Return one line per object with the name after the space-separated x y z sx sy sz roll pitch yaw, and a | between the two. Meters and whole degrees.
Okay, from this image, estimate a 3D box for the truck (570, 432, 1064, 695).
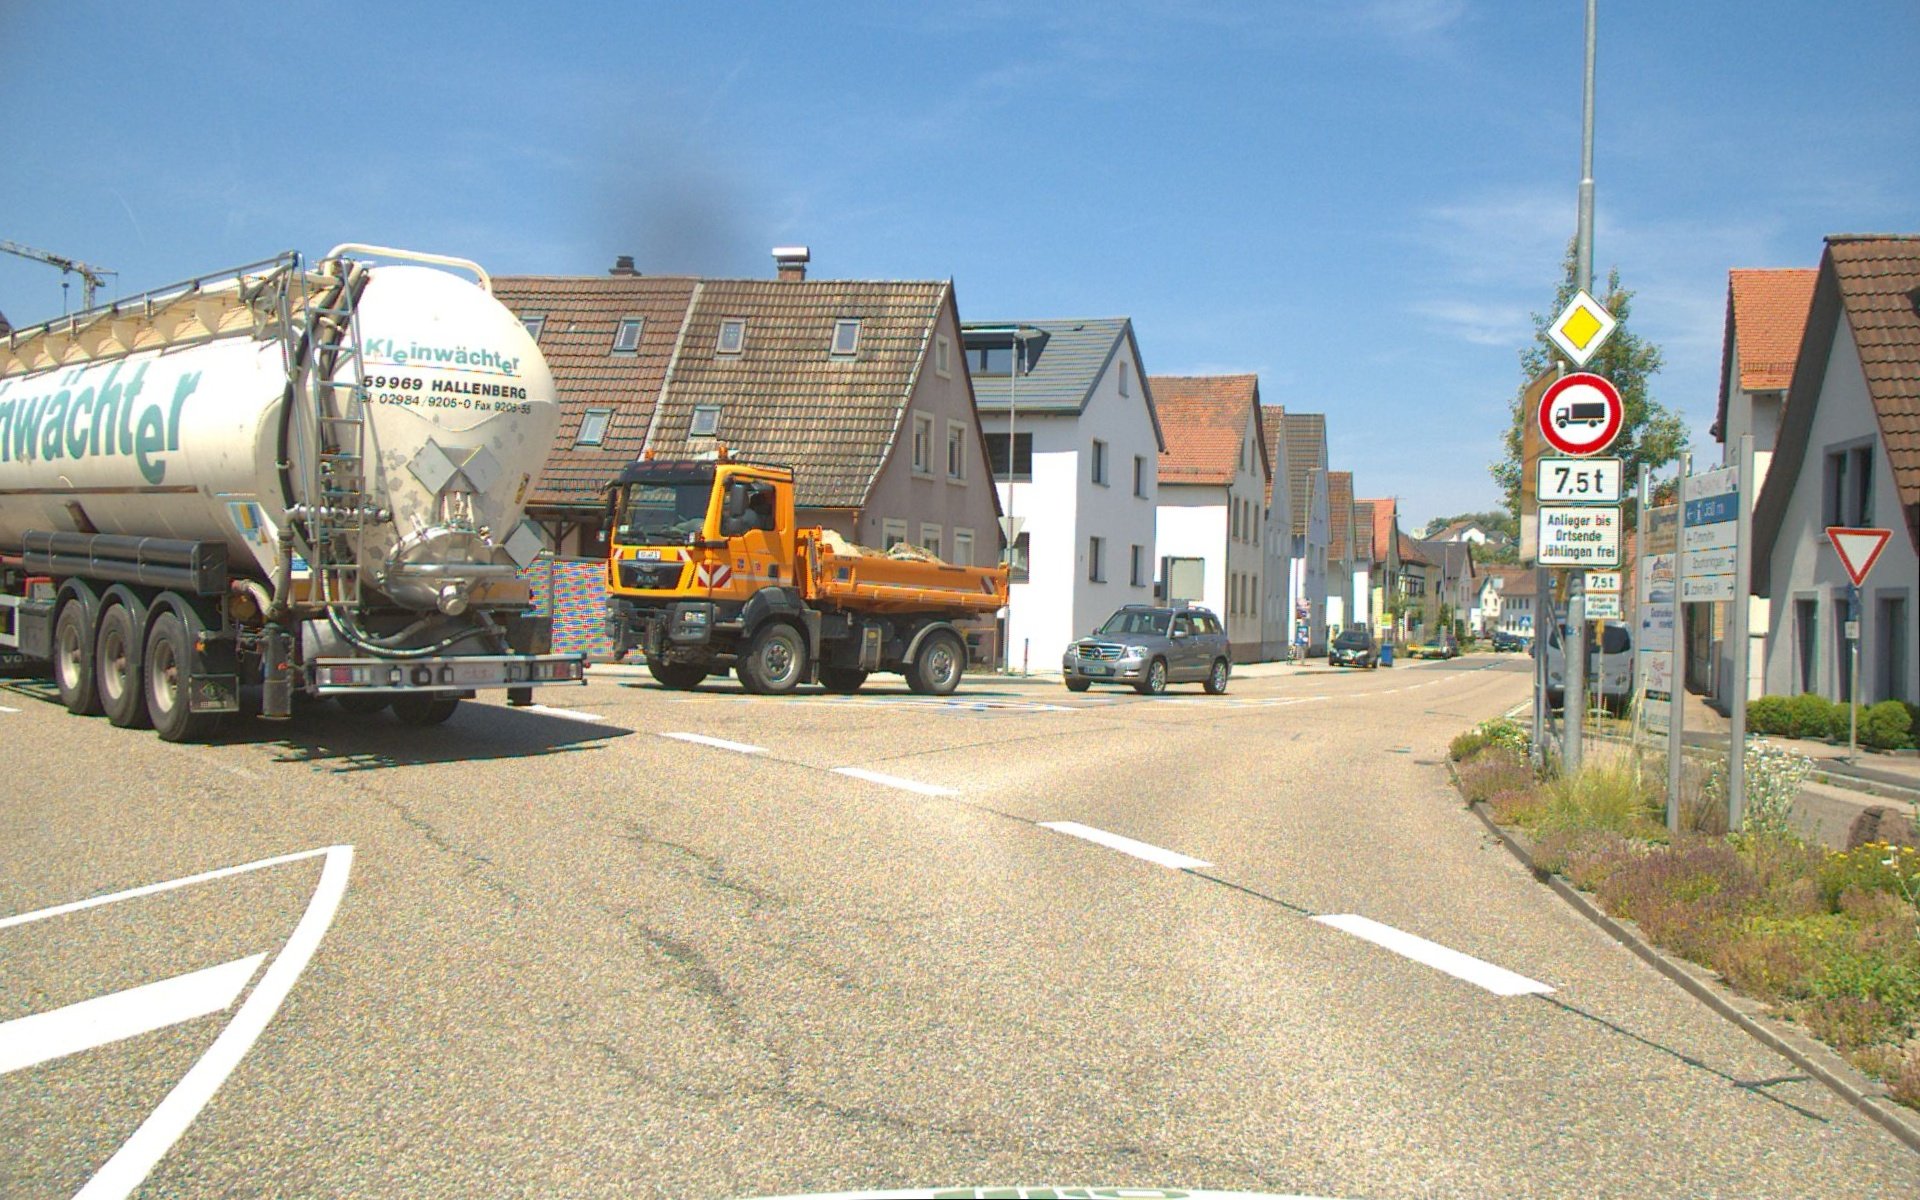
-1.808 -0.313 24.359 2.622 3.237 7.418 1 -2 41 | truck

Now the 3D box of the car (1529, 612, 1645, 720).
12.669 1.348 33.640 1.952 1.945 4.325 2 -2 18 | car

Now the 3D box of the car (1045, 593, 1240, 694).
3.545 0.864 31.421 1.958 1.704 4.301 2 -1 32 | car

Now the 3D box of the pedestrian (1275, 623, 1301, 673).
13.732 1.991 69.270 0.754 2.049 0.975 2 0 27 | pedestrian

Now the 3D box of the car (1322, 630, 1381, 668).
17.748 2.195 74.852 1.684 1.624 3.996 2 0 26 | car

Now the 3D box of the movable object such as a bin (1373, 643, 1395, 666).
20.423 2.626 79.625 0.901 1.067 0.943 2 0 21 | movable object such as a bin

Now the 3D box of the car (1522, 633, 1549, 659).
39.725 3.155 114.096 1.682 1.624 4.000 2 0 20 | car

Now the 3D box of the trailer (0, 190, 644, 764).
-7.675 -1.004 16.733 2.939 4.016 11.433 3 0 -44 | trailer

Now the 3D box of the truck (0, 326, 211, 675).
-12.953 -1.225 21.545 5.453 4.034 2.994 2 0 27 | truck

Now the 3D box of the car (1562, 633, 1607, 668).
31.358 2.534 83.180 1.952 1.612 4.001 2 0 19 | car

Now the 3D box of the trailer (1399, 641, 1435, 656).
28.166 2.992 102.010 1.909 0.791 2.722 3 0 12 | trailer

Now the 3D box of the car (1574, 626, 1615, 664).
35.978 2.527 93.896 1.952 2.026 4.001 2 0 19 | car
